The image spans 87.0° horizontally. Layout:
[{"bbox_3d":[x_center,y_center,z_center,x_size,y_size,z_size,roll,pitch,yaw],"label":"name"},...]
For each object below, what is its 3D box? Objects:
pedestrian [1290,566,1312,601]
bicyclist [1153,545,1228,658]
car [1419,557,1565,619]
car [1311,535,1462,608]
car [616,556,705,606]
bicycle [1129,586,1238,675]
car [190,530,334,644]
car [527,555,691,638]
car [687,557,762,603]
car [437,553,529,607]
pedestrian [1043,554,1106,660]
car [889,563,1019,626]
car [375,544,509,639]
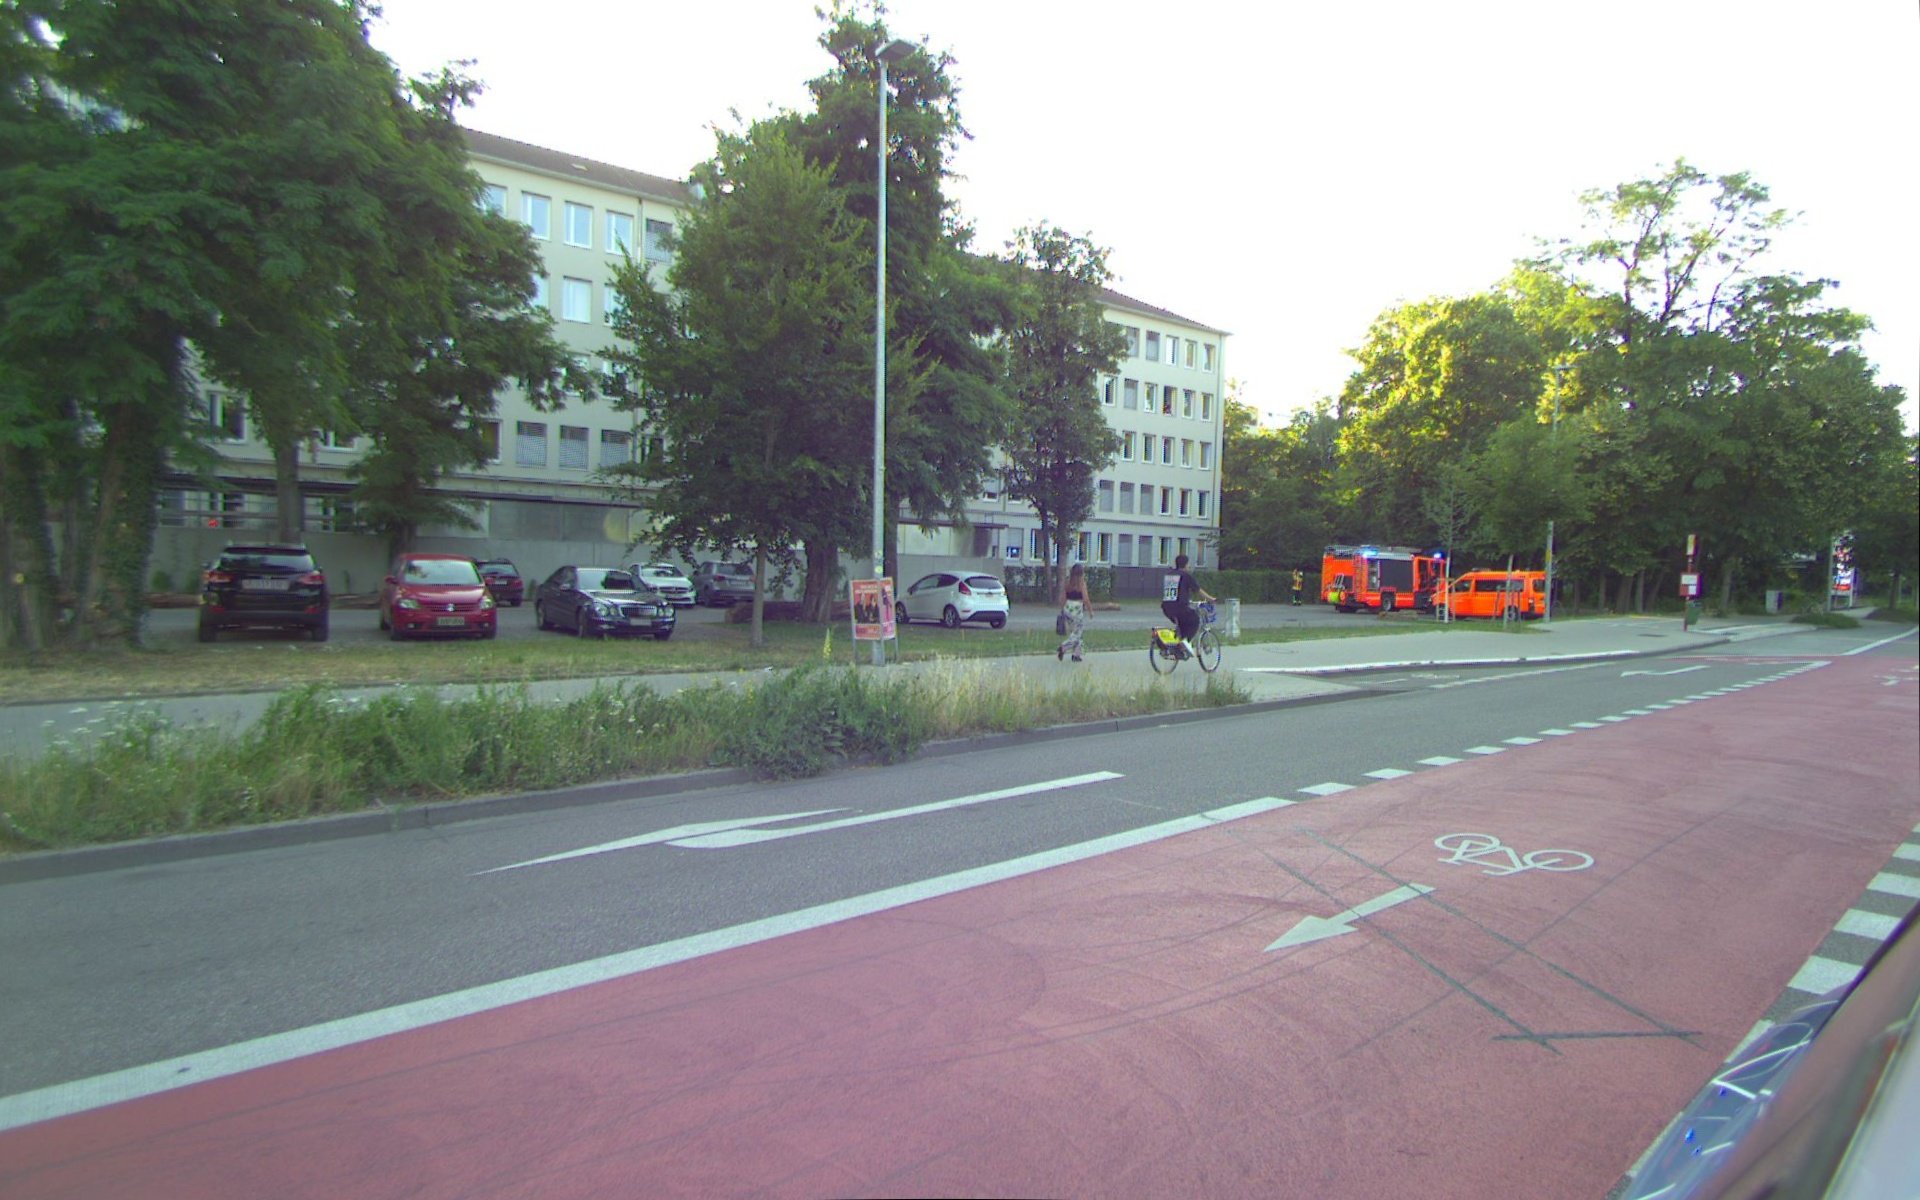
[{"bbox_3d":[18.682,-0.920,55.435,0.671,1.864,0.844,1,2,-42],"label":"pedestrian"},{"bbox_3d":[3.501,0.003,15.374,1.019,1.652,0.571,0,2,-41],"label":"bicyclist"},{"bbox_3d":[22.783,-0.573,43.557,1.963,2.422,5.168,0,2,-37],"label":"car"},{"bbox_3d":[20.969,-1.354,49.519,8.138,3.283,2.775,0,2,-34],"label":"car"},{"bbox_3d":[-10.015,-0.662,33.690,1.880,1.540,3.921,0,2,-32],"label":"car"},{"bbox_3d":[3.401,0.425,15.299,1.866,1.256,0.571,0,2,-41],"label":"bicycle"},{"bbox_3d":[-12.289,-0.294,17.867,1.882,1.761,4.241,0,2,-35],"label":"car"},{"bbox_3d":[-7.382,-0.144,20.993,1.883,1.482,4.519,0,3,-37],"label":"car"},{"bbox_3d":[-8.200,-0.704,35.087,1.734,1.477,3.320,1,2,-27],"label":"car"},{"bbox_3d":[-14.523,-0.640,30.703,1.738,1.477,3.626,0,3,-38],"label":"car"},{"bbox_3d":[1.843,0.095,16.265,0.676,1.642,0.682,1,2,-41],"label":"pedestrian"},{"bbox_3d":[-0.219,-0.193,26.859,1.633,1.477,3.667,0,2,-35],"label":"car"},{"bbox_3d":[-10.107,-0.233,19.601,1.882,1.630,4.003,0,2,-33],"label":"car"}]
